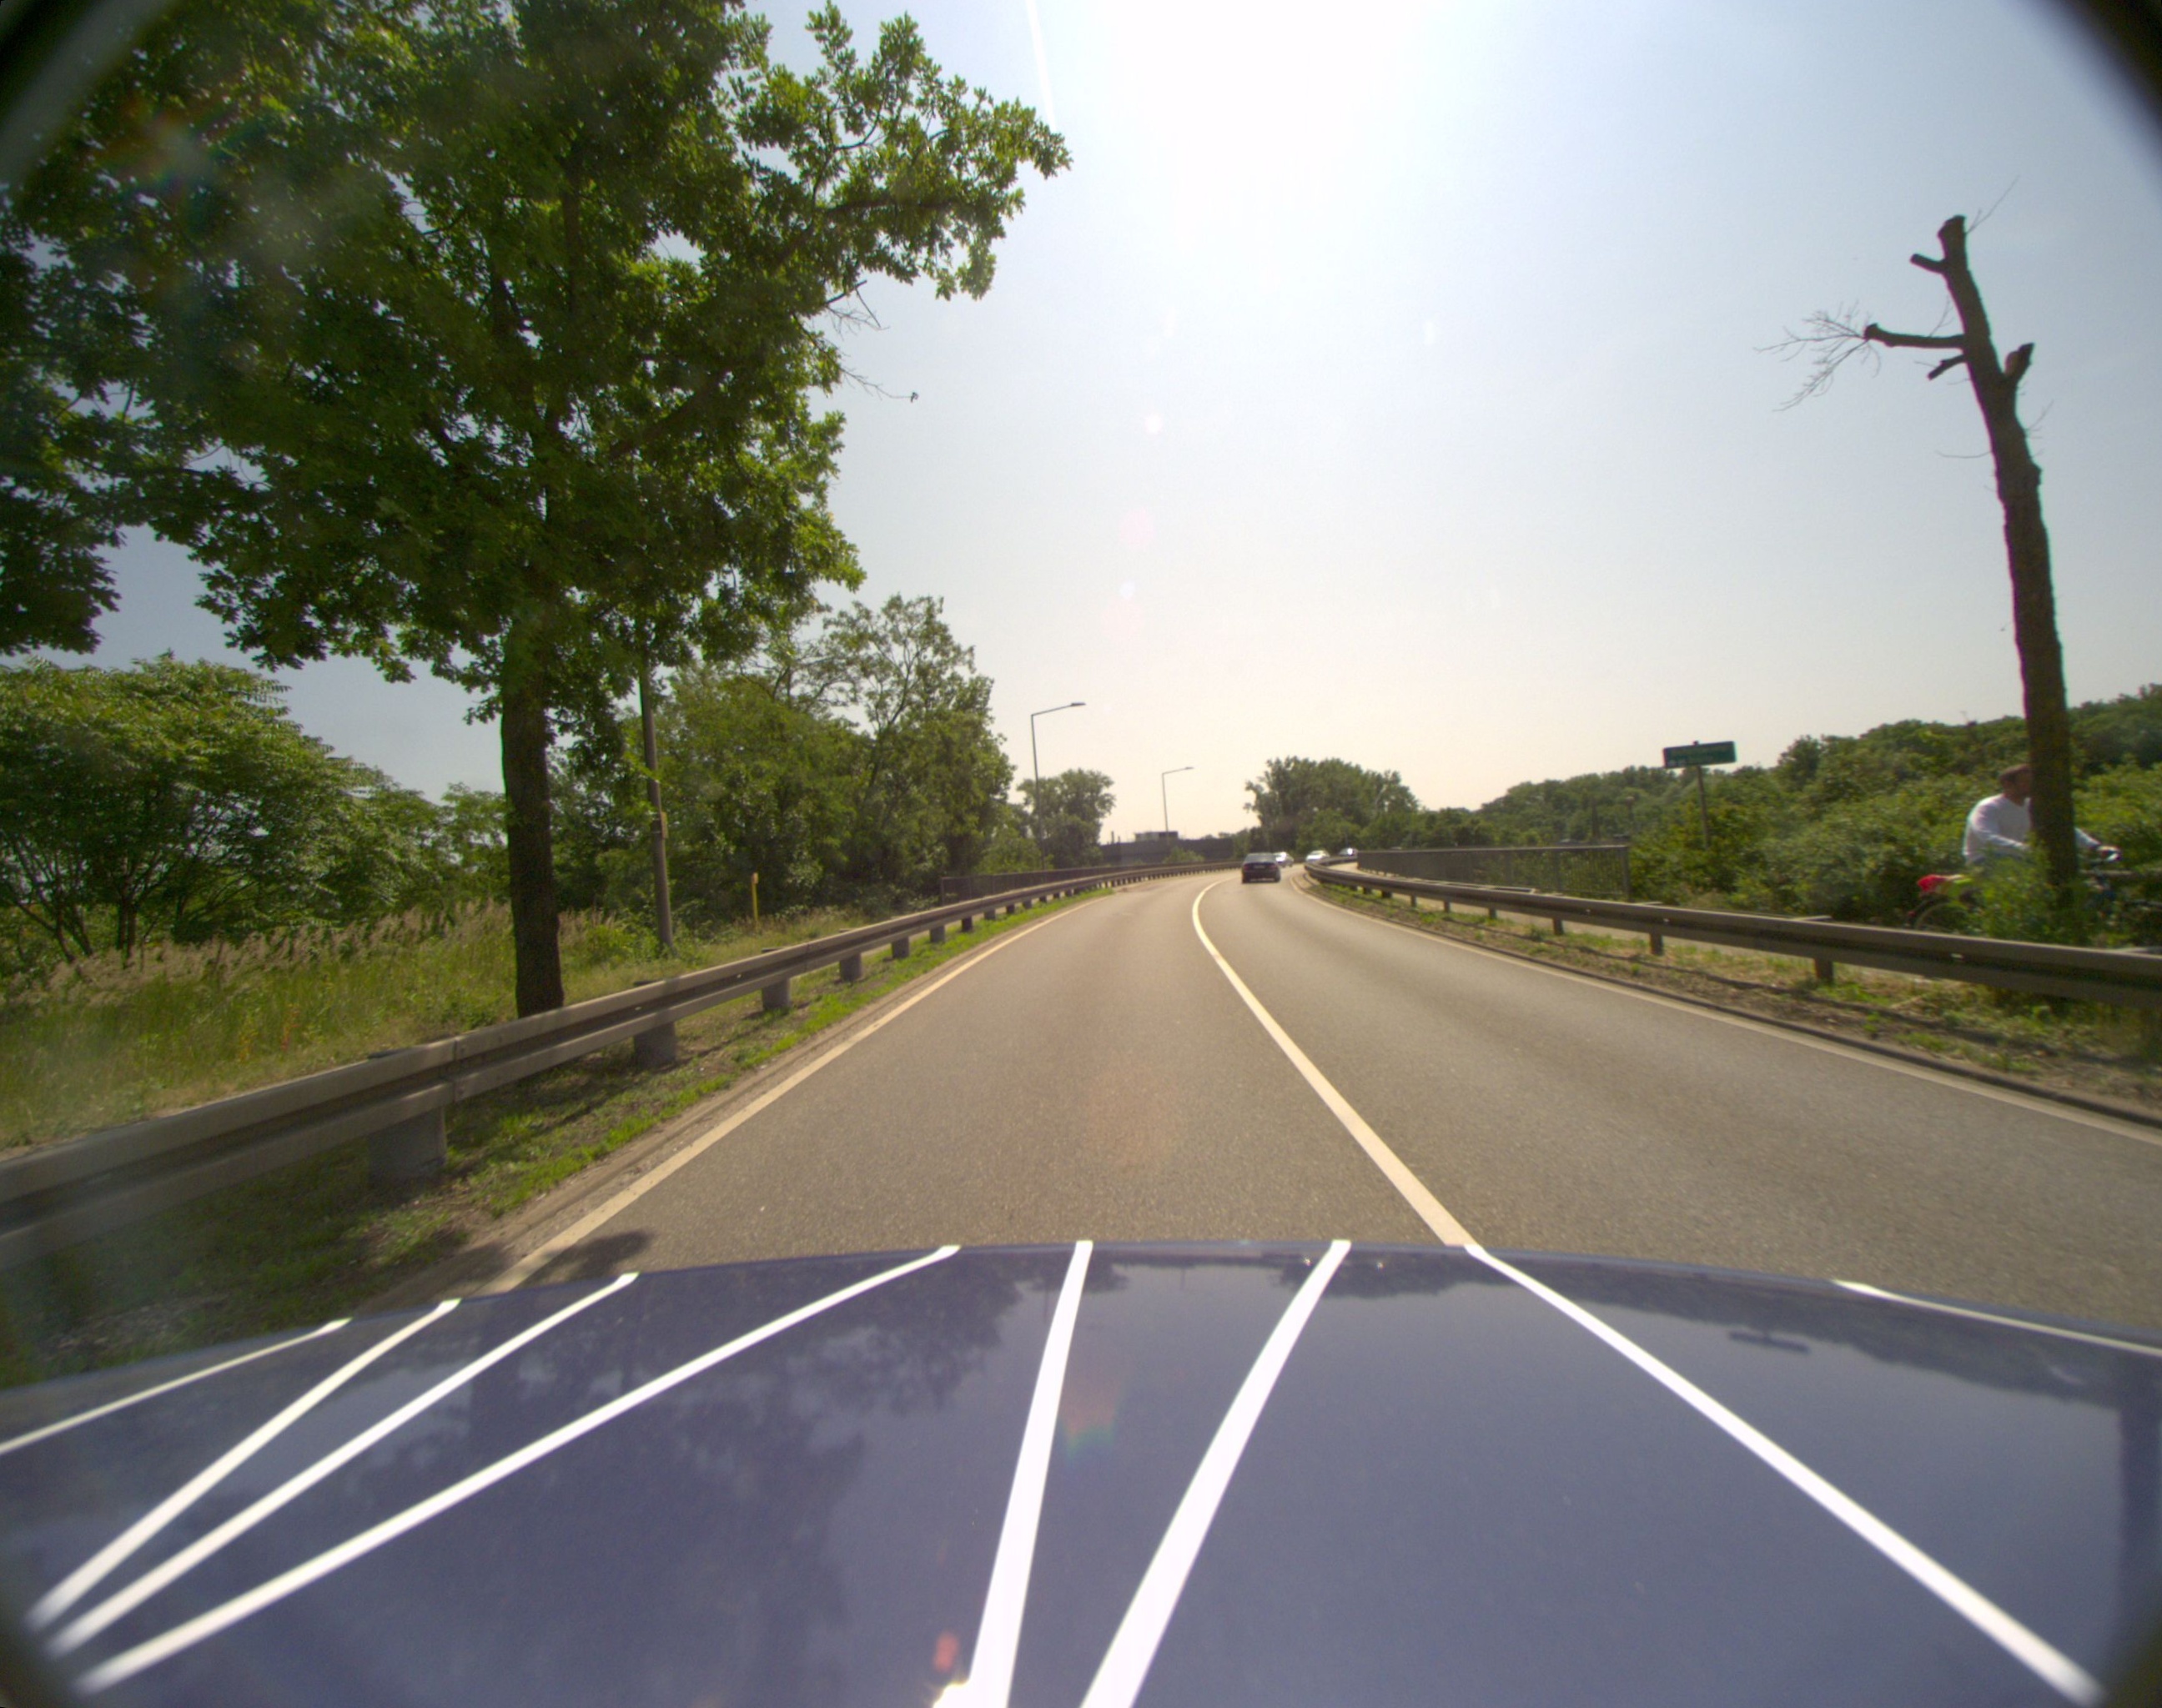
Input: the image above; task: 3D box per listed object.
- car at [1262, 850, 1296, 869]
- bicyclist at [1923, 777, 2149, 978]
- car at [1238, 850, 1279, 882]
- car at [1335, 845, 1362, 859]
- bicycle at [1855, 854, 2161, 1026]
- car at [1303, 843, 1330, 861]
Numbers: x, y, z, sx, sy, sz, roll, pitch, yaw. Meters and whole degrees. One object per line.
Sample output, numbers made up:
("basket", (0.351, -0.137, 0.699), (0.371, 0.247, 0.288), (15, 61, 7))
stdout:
("car", (18.733, 0.491, 71.687), (1.760, 1.491, 4.240), (-2, 2, 33))
("bicyclist", (7.422, 0.171, 5.954), (0.731, 1.457, 0.824), (-1, 1, -2))
("car", (8.738, 0.551, 37.550), (1.806, 1.408, 4.361), (-2, 0, 12))
("car", (29.078, -0.238, 82.510), (1.805, 1.408, 4.366), (-2, 0, 31))
("bicycle", (7.428, 0.565, 5.885), (0.736, 1.110, 2.045), (-1, 0, -2))
("car", (26.647, -0.261, 85.890), (1.795, 1.772, 4.301), (-2, 1, 34))
